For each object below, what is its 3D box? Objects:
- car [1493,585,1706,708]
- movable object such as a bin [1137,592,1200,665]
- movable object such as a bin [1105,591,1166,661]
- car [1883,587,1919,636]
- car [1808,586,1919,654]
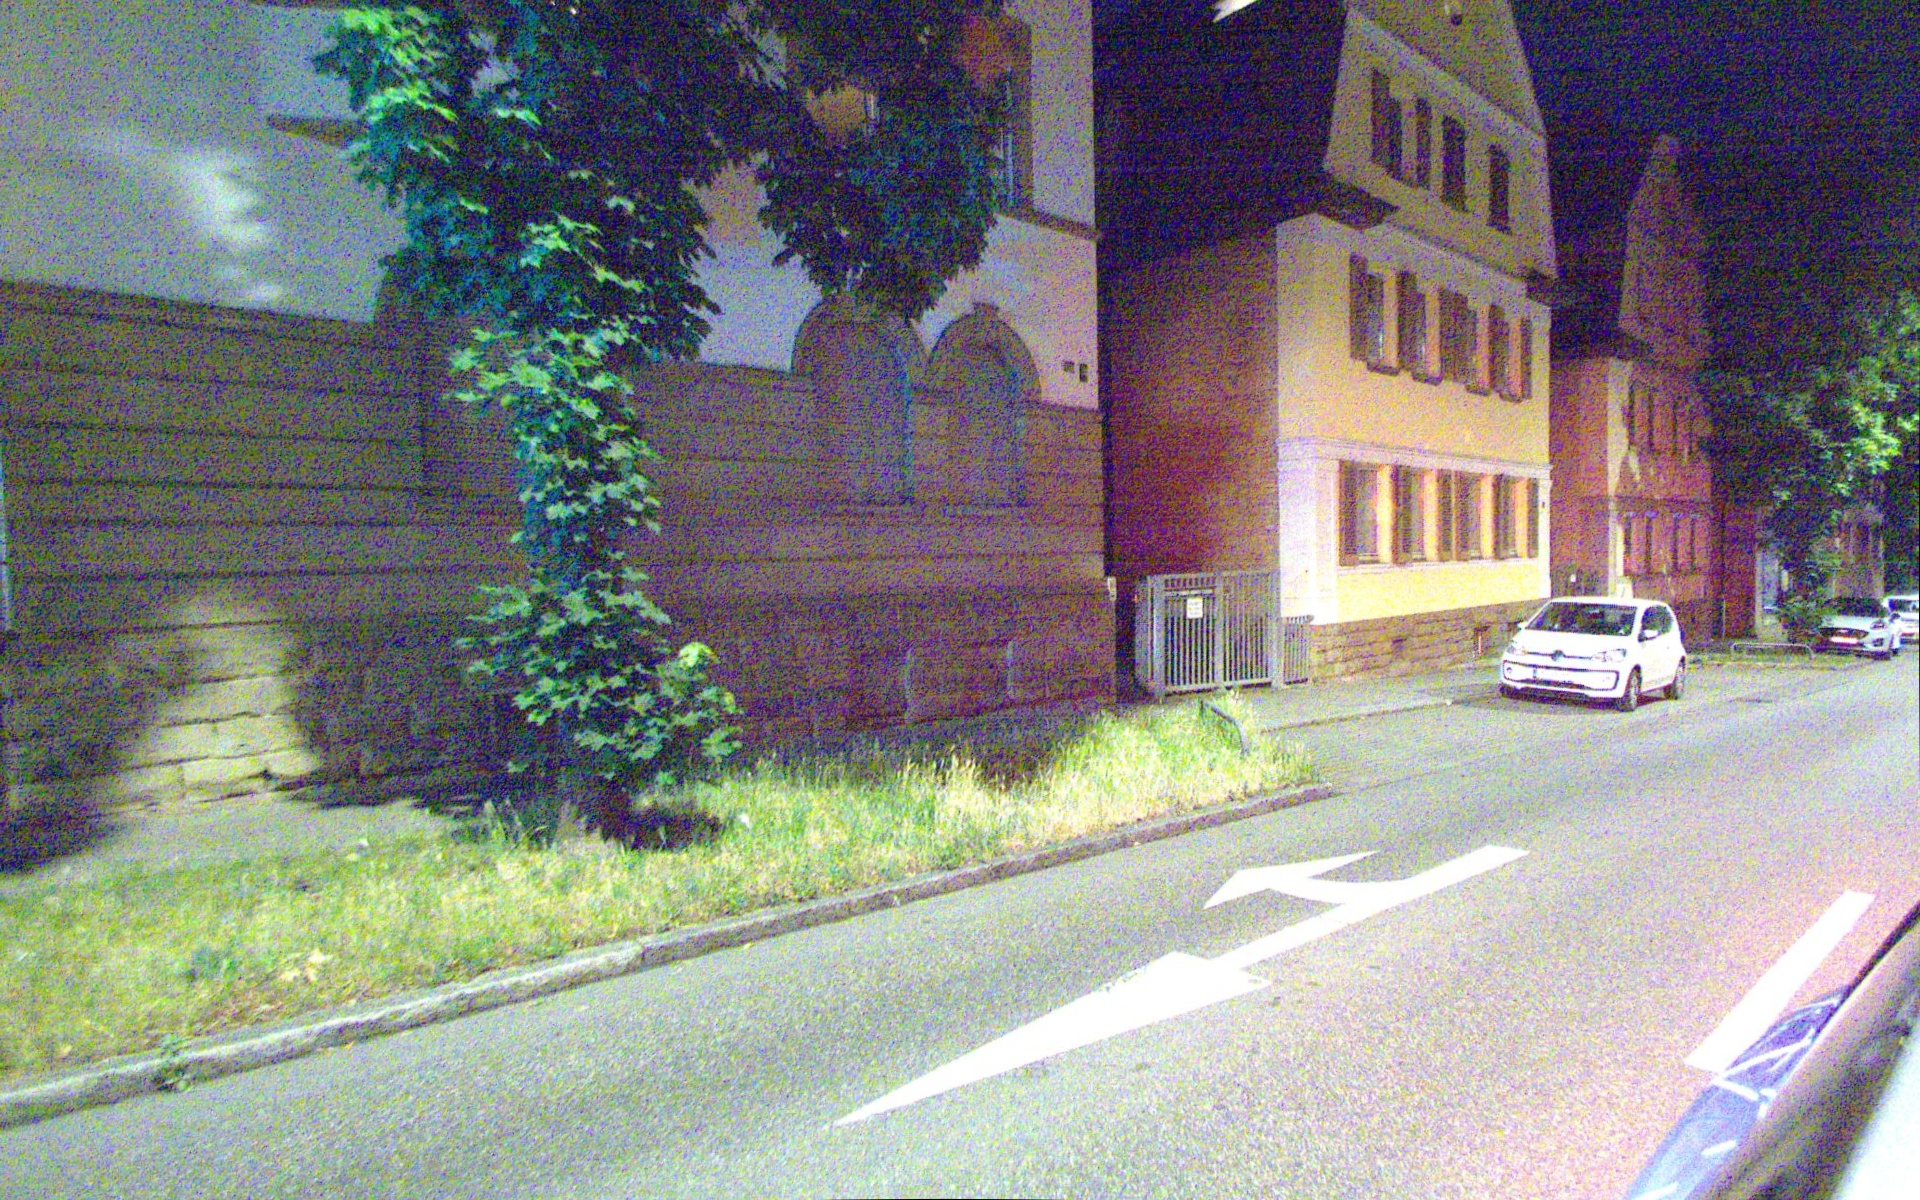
[{"bbox_3d":[9.322,0.576,14.654,3.541,1.503,1.671,0,2,-42],"label":"car"},{"bbox_3d":[3.134,0.409,15.244,0.742,1.062,0.608,0,0,-41],"label":"movable object such as a bin"},{"bbox_3d":[2.732,0.391,15.764,0.742,1.062,0.608,0,0,-41],"label":"movable object such as a bin"},{"bbox_3d":[33.789,0.388,35.344,4.281,1.616,1.742,0,3,-40],"label":"car"},{"bbox_3d":[23.806,0.469,26.575,3.977,1.572,1.862,0,3,-43],"label":"car"}]
